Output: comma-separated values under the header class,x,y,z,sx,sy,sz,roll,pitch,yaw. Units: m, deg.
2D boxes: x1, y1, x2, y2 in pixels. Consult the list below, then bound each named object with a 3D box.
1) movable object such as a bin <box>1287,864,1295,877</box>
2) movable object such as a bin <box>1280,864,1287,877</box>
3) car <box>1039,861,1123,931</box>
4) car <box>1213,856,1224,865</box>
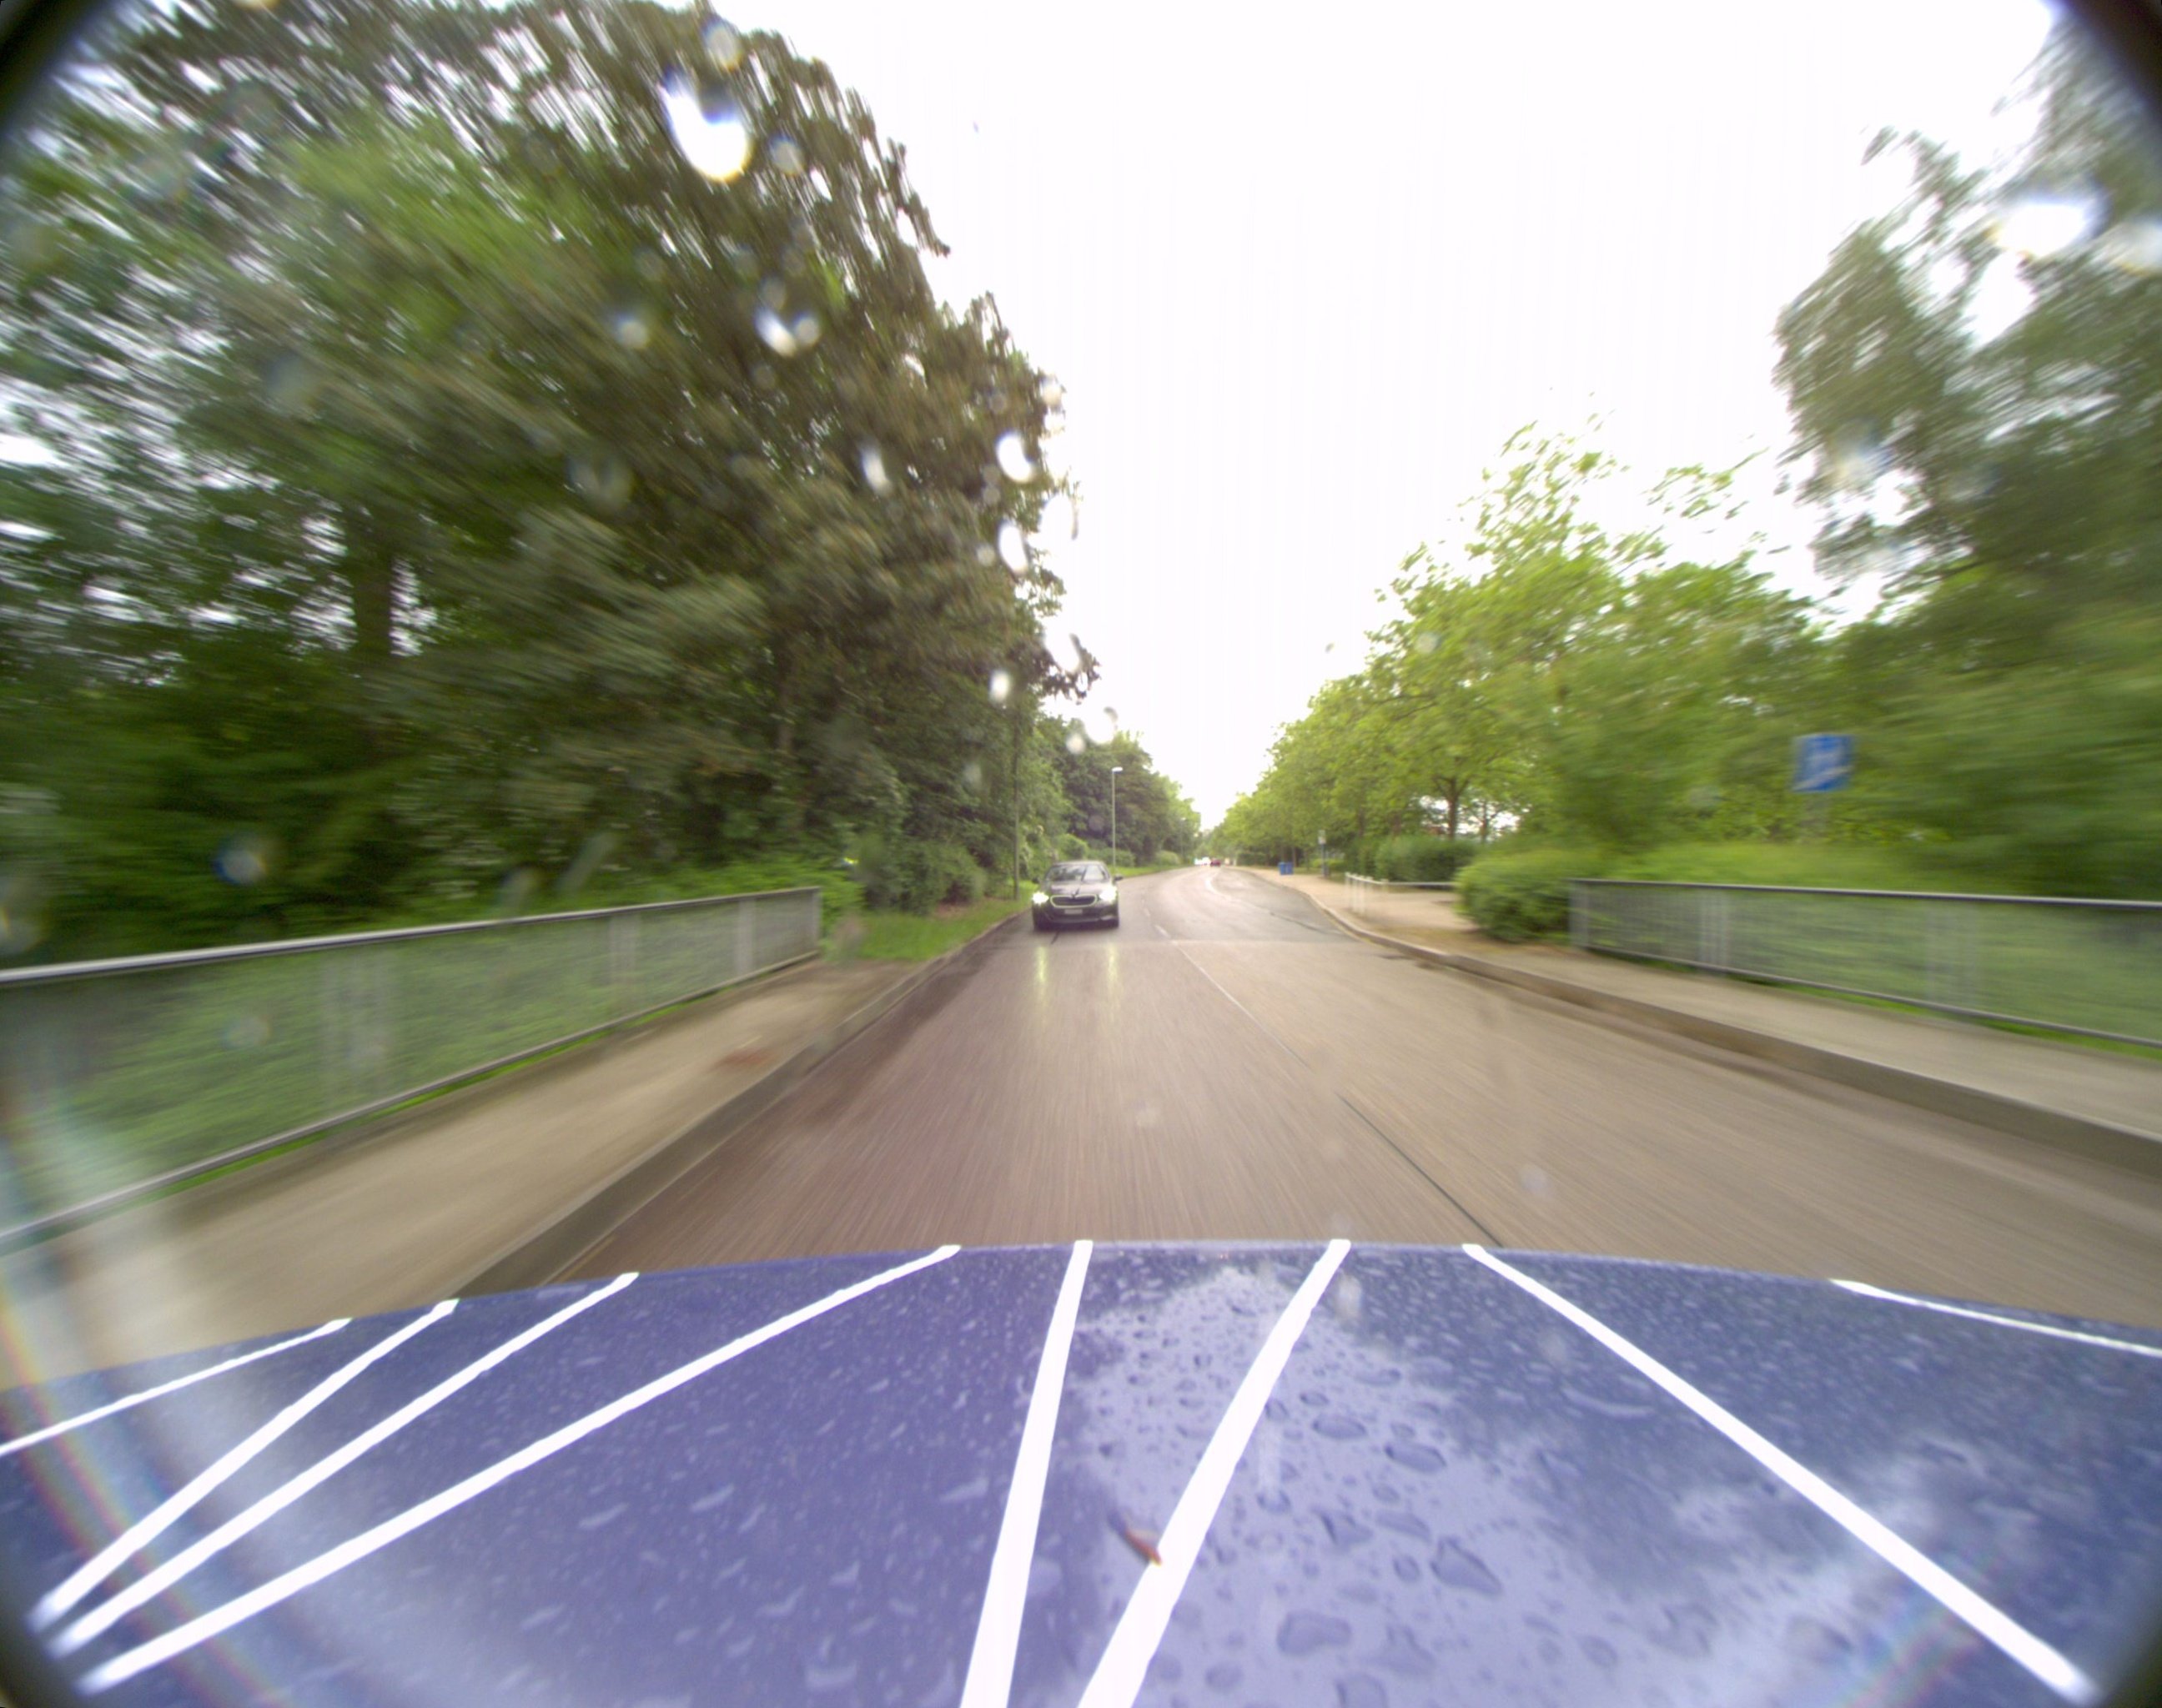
class,x,y,z,sx,sy,sz,roll,pitch,yaw
movable object such as a bin,18.314,1.419,66.379,0.567,1.092,0.672,-3,-1,13
movable object such as a bin,17.686,1.439,66.330,0.567,1.092,0.672,-3,-1,13
car,0.097,0.965,19.483,1.832,1.499,4.499,-3,0,3
car,24.683,1.145,136.167,1.829,1.456,4.004,1,0,12
